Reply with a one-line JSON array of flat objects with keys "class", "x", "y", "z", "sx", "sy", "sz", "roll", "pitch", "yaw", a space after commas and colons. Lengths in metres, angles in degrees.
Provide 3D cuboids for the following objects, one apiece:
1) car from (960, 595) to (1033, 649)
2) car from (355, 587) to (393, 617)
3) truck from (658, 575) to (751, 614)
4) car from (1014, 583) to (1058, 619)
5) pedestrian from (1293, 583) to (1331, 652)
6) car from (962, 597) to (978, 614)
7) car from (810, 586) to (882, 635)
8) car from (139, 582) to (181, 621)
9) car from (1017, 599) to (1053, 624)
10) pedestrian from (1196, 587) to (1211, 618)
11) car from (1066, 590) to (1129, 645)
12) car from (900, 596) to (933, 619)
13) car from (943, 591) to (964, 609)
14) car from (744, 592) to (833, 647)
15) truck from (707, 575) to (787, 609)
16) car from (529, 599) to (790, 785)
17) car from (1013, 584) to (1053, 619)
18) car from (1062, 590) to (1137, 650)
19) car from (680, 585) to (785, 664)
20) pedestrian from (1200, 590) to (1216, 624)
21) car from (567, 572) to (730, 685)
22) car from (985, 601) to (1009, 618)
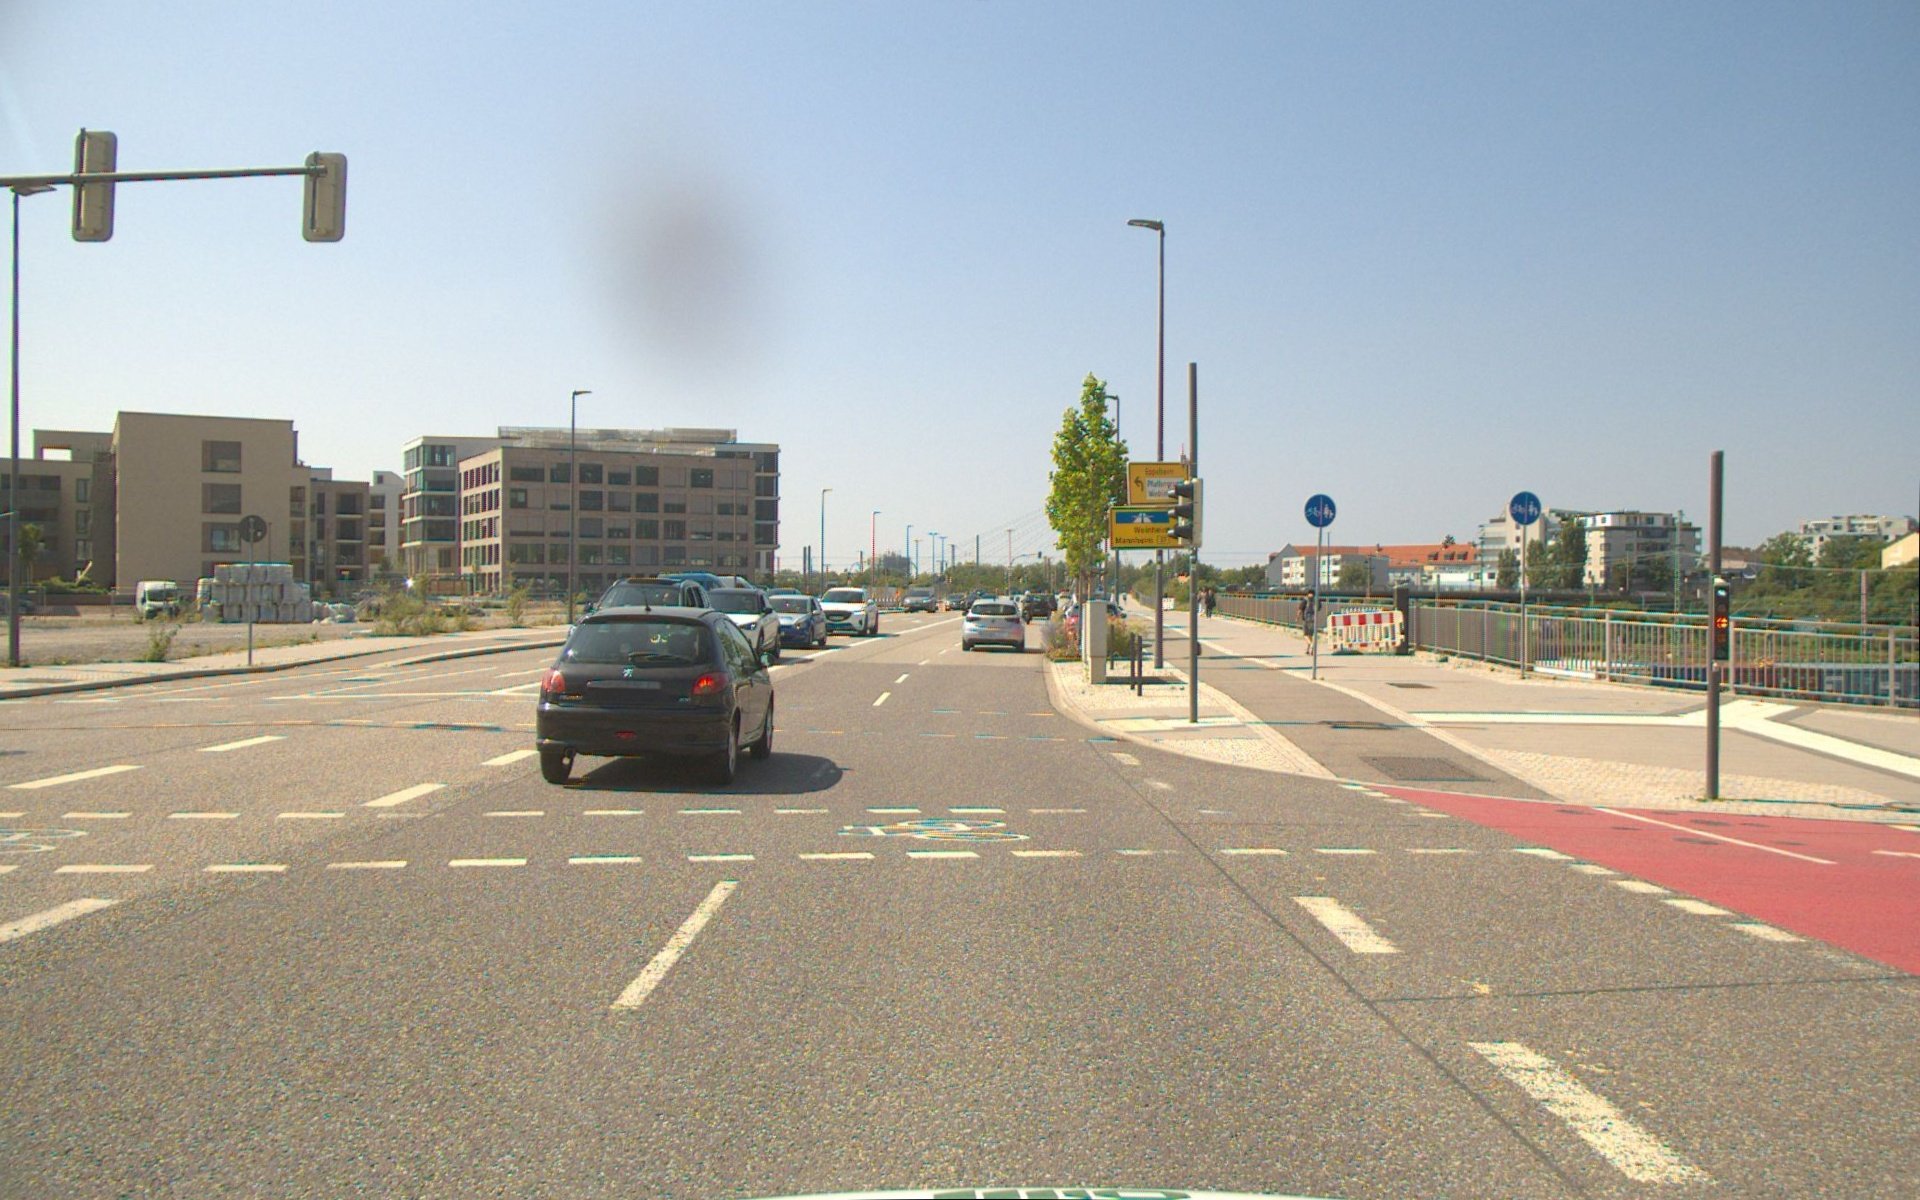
[{"class": "car", "x": 1.104, "y": 0.613, "z": 48.088, "sx": 1.740, "sy": 1.467, "sz": 4.003, "roll": 1, "pitch": 0, "yaw": 7}, {"class": "car", "x": -37.880, "y": 0.121, "z": 106.878, "sx": 1.968, "sy": 1.881, "sz": 3.969, "roll": 1, "pitch": 0, "yaw": -25}, {"class": "truck", "x": -17.240, "y": -0.338, "z": 111.877, "sx": 5.879, "sy": 2.588, "sz": 2.276, "roll": 0, "pitch": 0, "yaw": 2}, {"class": "car", "x": 3.829, "y": 0.044, "z": 83.525, "sx": 1.758, "sy": 1.780, "sz": 3.996, "roll": 1, "pitch": 0, "yaw": -4}, {"class": "pedestrian", "x": 8.715, "y": 0.426, "z": 40.943, "sx": 0.735, "sy": 1.637, "sz": 0.949, "roll": -2, "pitch": 0, "yaw": 4}, {"class": "car", "x": 1.039, "y": 0.536, "z": 168.141, "sx": 1.547, "sy": 1.590, "sz": 3.673, "roll": 2, "pitch": -1, "yaw": 0}, {"class": "car", "x": -4.007, "y": 0.374, "z": 58.863, "sx": 1.873, "sy": 1.679, "sz": 4.733, "roll": 0, "pitch": -1, "yaw": 4}, {"class": "car", "x": -49.503, "y": 0.094, "z": 102.263, "sx": 1.973, "sy": 2.280, "sz": 3.958, "roll": 1, "pitch": 0, "yaw": -31}, {"class": "car", "x": 4.377, "y": 0.690, "z": 96.570, "sx": 1.600, "sy": 1.333, "sz": 3.996, "roll": 2, "pitch": -1, "yaw": -4}, {"class": "pedestrian", "x": 14.012, "y": 0.143, "z": 95.277, "sx": 0.764, "sy": 1.735, "sz": 0.742, "roll": 1, "pitch": 0, "yaw": 4}, {"class": "car", "x": 4.312, "y": 0.539, "z": 52.456, "sx": 1.833, "sy": 1.656, "sz": 4.878, "roll": 1, "pitch": 0, "yaw": 3}, {"class": "car", "x": -2.890, "y": 0.545, "z": 111.785, "sx": 1.854, "sy": 1.440, "sz": 3.599, "roll": 2, "pitch": -1, "yaw": 4}, {"class": "car", "x": -0.591, "y": 0.031, "z": 145.262, "sx": 1.757, "sy": 1.441, "sz": 4.000, "roll": 2, "pitch": -1, "yaw": 0}, {"class": "car", "x": -4.786, "y": 0.538, "z": 46.719, "sx": 1.748, "sy": 1.446, "sz": 4.284, "roll": 1, "pitch": 0, "yaw": 4}, {"class": "truck", "x": -15.319, "y": -0.579, "z": 119.141, "sx": 5.450, "sy": 2.404, "sz": 2.276, "roll": 0, "pitch": 0, "yaw": 2}, {"class": "car", "x": -2.571, "y": 0.733, "z": 14.949, "sx": 1.586, "sy": 1.441, "sz": 3.727, "roll": 1, "pitch": 0, "yaw": 1}, {"class": "car", "x": 3.709, "y": 0.102, "z": 83.106, "sx": 1.740, "sy": 1.596, "sz": 4.002, "roll": 2, "pitch": -1, "yaw": 6}, {"class": "car", "x": 3.821, "y": 0.537, "z": 45.576, "sx": 1.952, "sy": 1.545, "sz": 4.002, "roll": 1, "pitch": 0, "yaw": 4}, {"class": "car", "x": -5.164, "y": 0.512, "z": 38.024, "sx": 1.741, "sy": 1.711, "sz": 4.100, "roll": 0, "pitch": 0, "yaw": 2}, {"class": "pedestrian", "x": 12.985, "y": 0.351, "z": 86.591, "sx": 0.716, "sy": 1.735, "sz": 0.651, "roll": 2, "pitch": -1, "yaw": 5}, {"class": "car", "x": -5.523, "y": 0.451, "z": 29.962, "sx": 1.899, "sy": 1.820, "sz": 4.656, "roll": 2, "pitch": 0, "yaw": 2}, {"class": "car", "x": 3.191, "y": 0.808, "z": 142.776, "sx": 1.749, "sy": 1.422, "sz": 4.574, "roll": 1, "pitch": 0, "yaw": 5}]
